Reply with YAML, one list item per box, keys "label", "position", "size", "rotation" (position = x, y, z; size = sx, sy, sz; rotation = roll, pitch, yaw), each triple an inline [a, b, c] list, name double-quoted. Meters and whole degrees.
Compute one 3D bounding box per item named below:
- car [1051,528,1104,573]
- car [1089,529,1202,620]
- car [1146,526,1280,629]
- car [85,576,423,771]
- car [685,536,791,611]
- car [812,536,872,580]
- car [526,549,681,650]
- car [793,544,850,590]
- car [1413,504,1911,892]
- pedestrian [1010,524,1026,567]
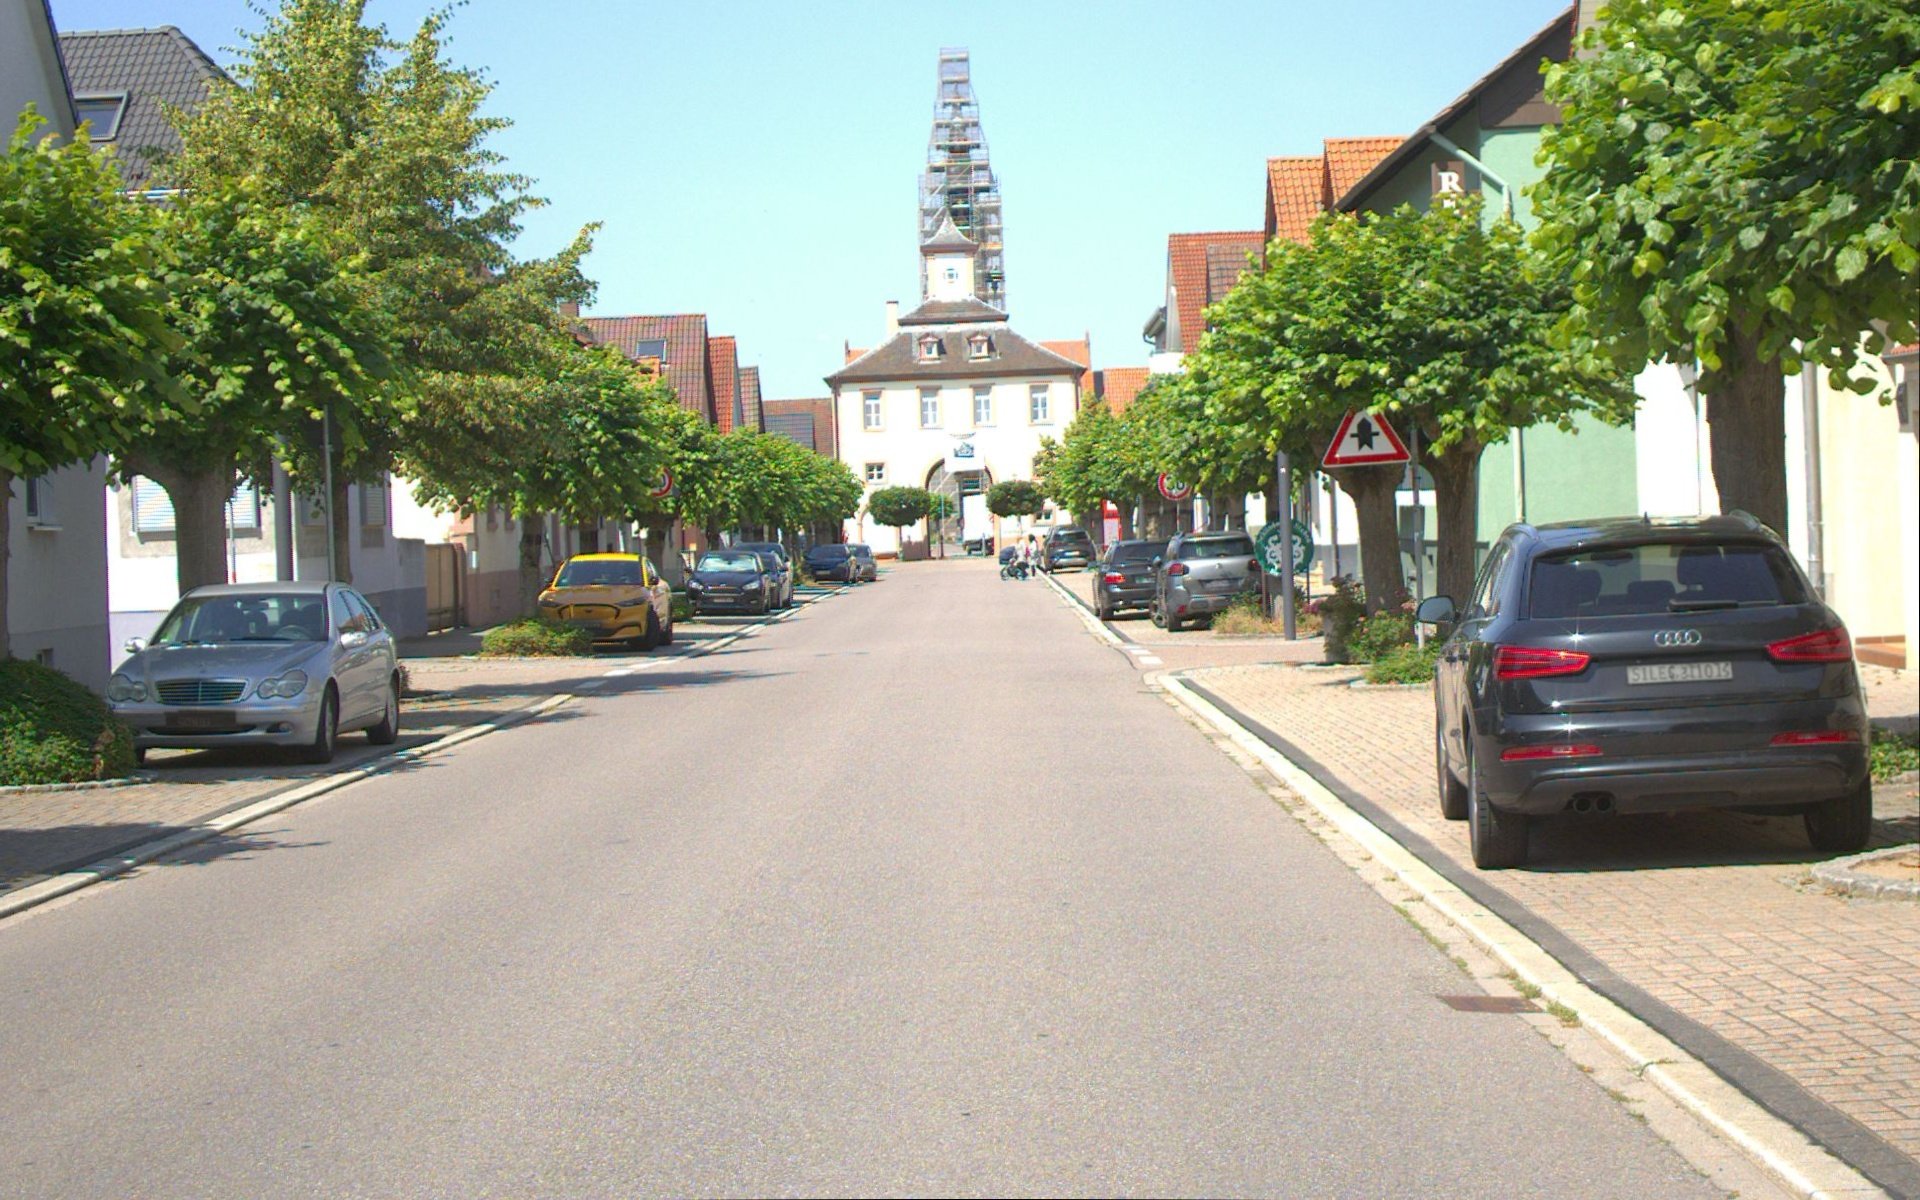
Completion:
- label: "car"
  position: [4.365, -1.843, 128.027]
  size: [1.837, 1.550, 4.314]
  rotation: [-3, 1, 1]
- label: "car"
  position: [3.468, -0.509, 64.897]
  size: [1.837, 1.550, 4.314]
  rotation: [-3, 1, 0]
- label: "car"
  position: [4.177, -0.396, 57.284]
  size: [1.837, 1.602, 4.000]
  rotation: [-2, 1, -1]
- label: "car"
  position: [-5.679, 0.542, 28.176]
  size: [1.840, 1.391, 4.406]
  rotation: [-1, 1, 0]
- label: "car"
  position: [-5.096, -0.641, 79.402]
  size: [1.993, 1.606, 4.689]
  rotation: [-1, 2, 2]
- label: "car"
  position: [-4.361, -1.547, 128.010]
  size: [1.993, 1.606, 3.855]
  rotation: [0, 0, 2]
- label: "car"
  position: [-5.955, -0.036, 57.907]
  size: [1.993, 1.606, 4.689]
  rotation: [0, 1, 2]
- label: "car"
  position: [-4.912, -1.190, 122.280]
  size: [1.757, 1.550, 4.020]
  rotation: [-2, 1, 1]
- label: "car"
  position: [3.300, 0.374, 16.902]
  size: [1.824, 1.580, 4.056]
  rotation: [-3, 1, 4]
- label: "pedestrian"
  position: [1.910, -1.806, 113.387]
  size: [0.358, 1.398, 0.319]
  rotation: [-1, 1, 38]
